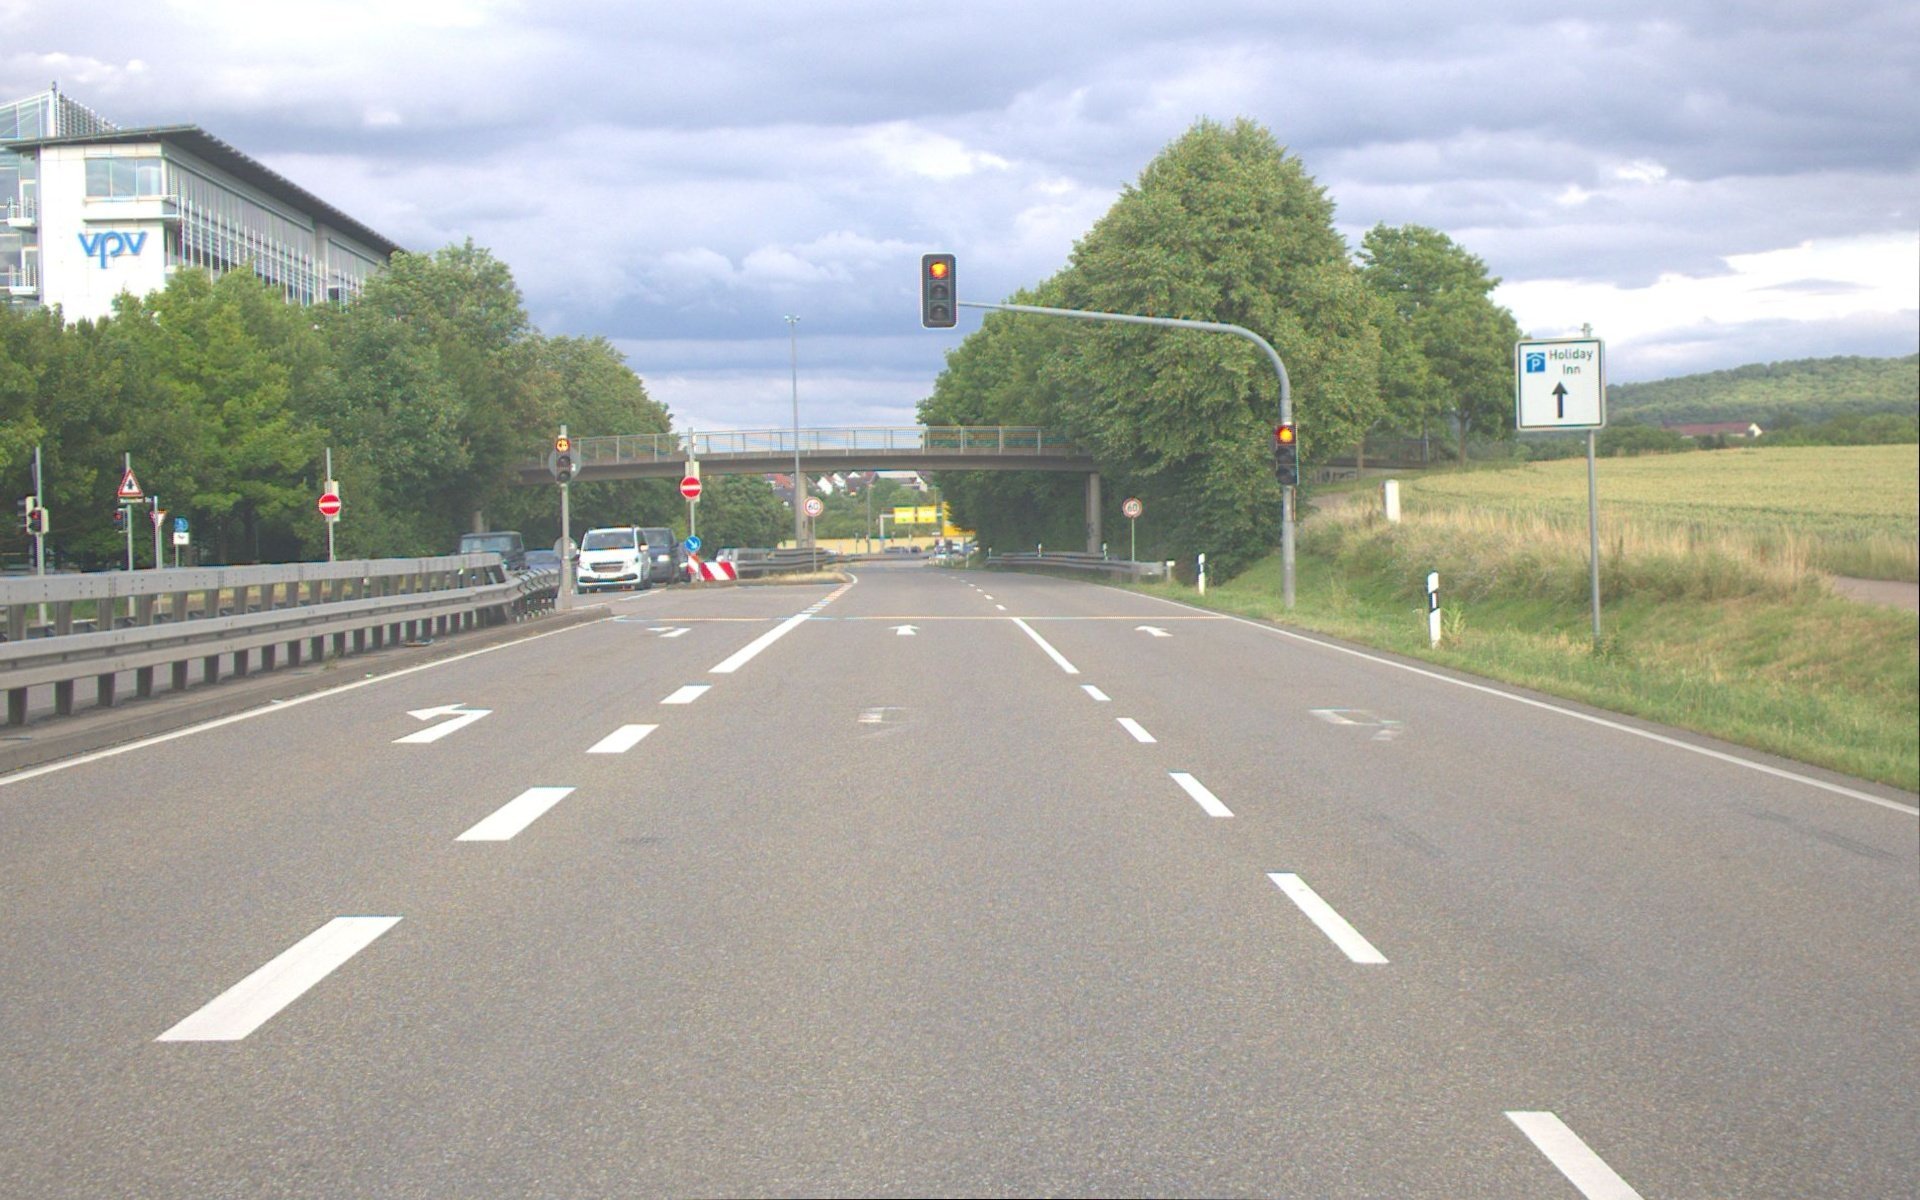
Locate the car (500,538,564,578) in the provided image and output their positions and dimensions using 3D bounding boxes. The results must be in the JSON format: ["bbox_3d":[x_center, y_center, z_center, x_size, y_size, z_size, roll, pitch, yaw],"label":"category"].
[{"bbox_3d":[-13.570,-1.347,109.127,1.613,1.174,3.457,-1,2,0],"label":"car"}]

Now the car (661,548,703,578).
[{"bbox_3d":[-9.862,-1.324,121.905,1.312,0.984,2.922,-1,2,-2],"label":"car"}]

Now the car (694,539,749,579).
[{"bbox_3d":[-6.926,-1.202,100.069,1.358,1.088,2.922,-1,2,0],"label":"car"}]

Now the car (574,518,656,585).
[{"bbox_3d":[-10.215,-1.458,102.056,1.948,1.867,4.737,-1,2,0],"label":"car"}]

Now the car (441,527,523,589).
[{"bbox_3d":[-14.124,-1.267,101.849,1.868,1.748,4.049,-1,2,0],"label":"car"}]

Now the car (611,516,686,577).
[{"bbox_3d":[-10.045,-1.740,111.207,1.993,1.867,4.737,-1,2,0],"label":"car"}]
